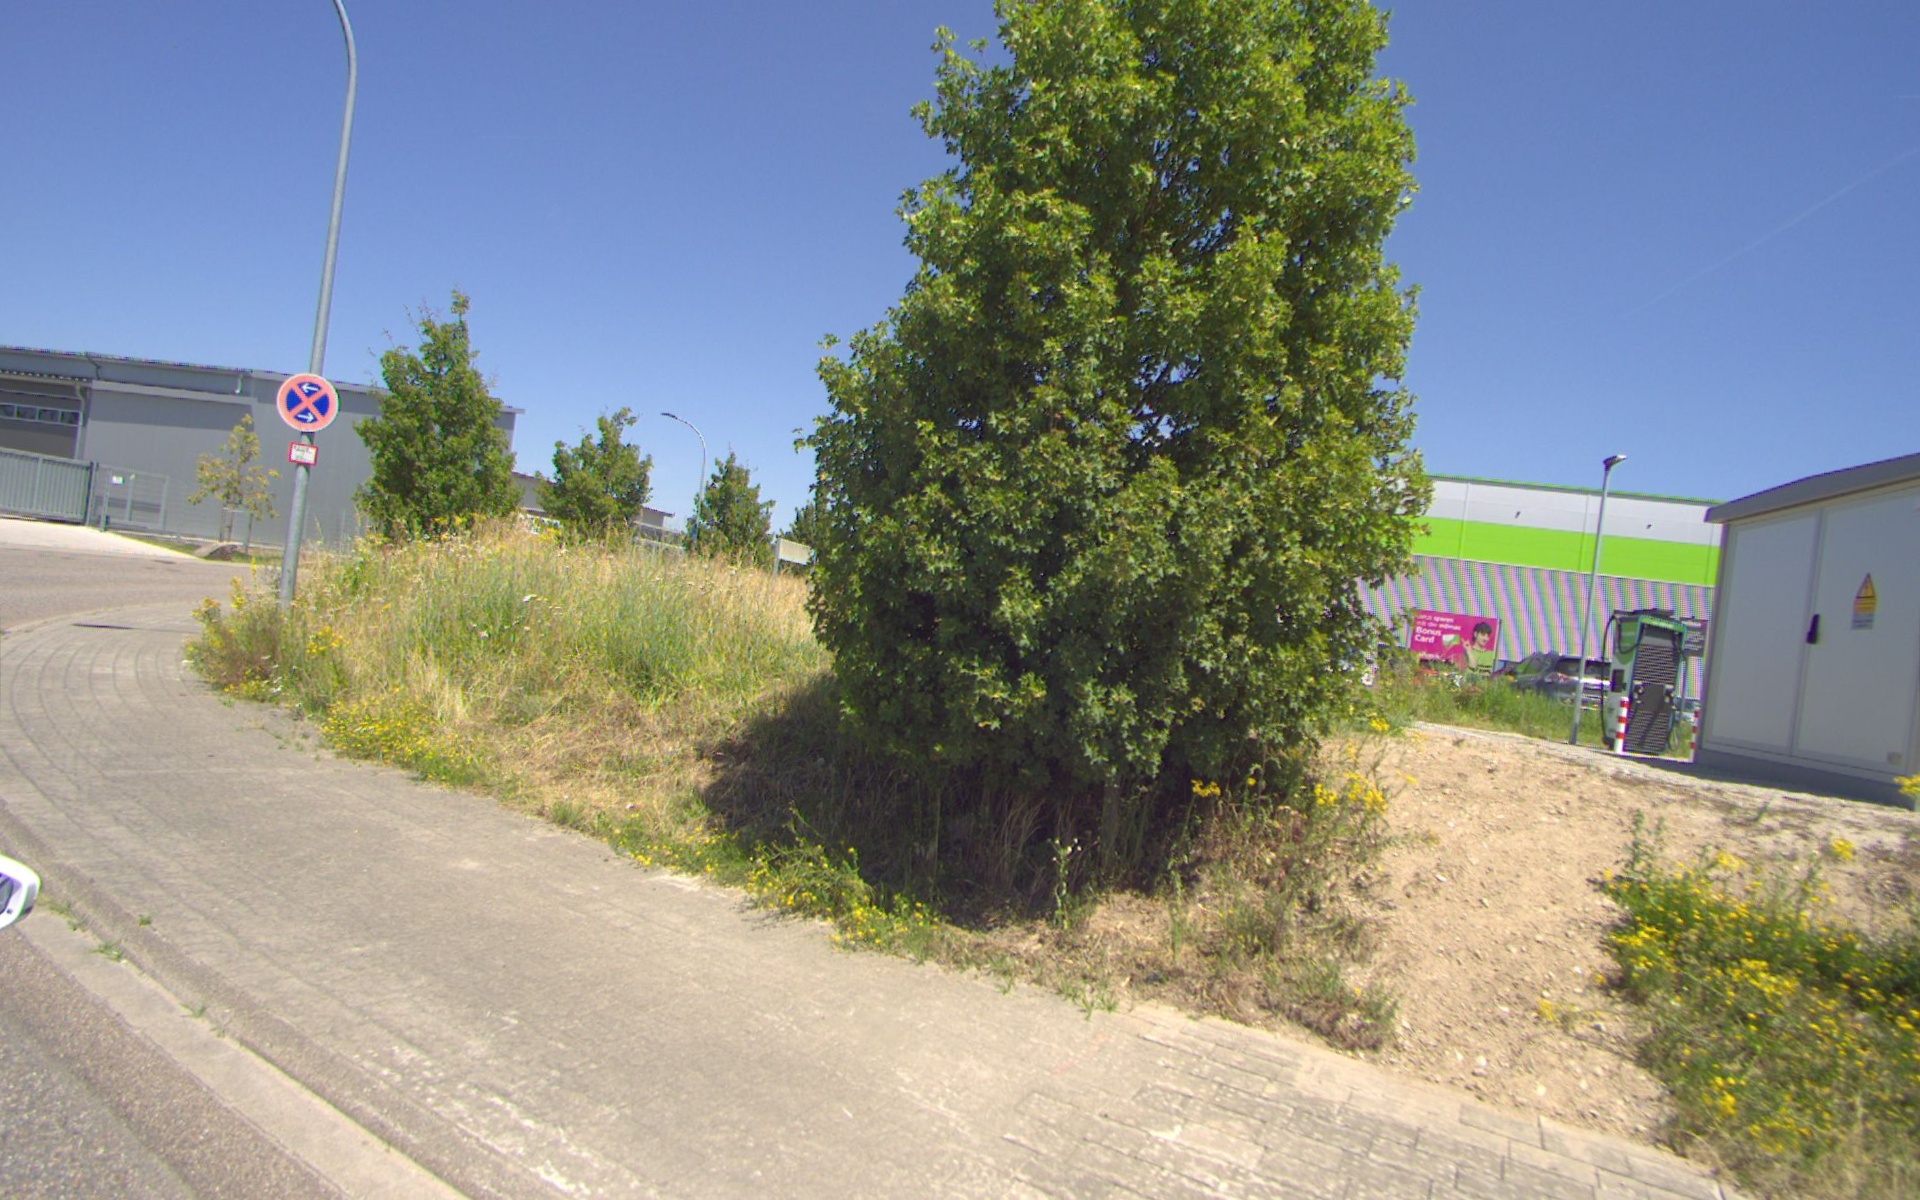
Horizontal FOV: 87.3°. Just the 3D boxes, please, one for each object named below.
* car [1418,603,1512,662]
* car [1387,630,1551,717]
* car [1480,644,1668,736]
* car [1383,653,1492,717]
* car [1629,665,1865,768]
[{"bbox_3d":[18.634,1.218,37.307,1.962,1.870,4.003,6,-1,12],"label":"car"},{"bbox_3d":[10.789,1.486,21.660,1.801,1.440,4.001,6,0,7],"label":"car"},{"bbox_3d":[12.797,1.817,21.283,1.801,1.440,4.001,6,0,7],"label":"car"},{"bbox_3d":[14.996,2.616,31.827,1.801,1.548,4.001,6,0,7],"label":"car"},{"bbox_3d":[15.451,2.219,20.062,1.801,1.440,4.001,6,0,7],"label":"car"}]
